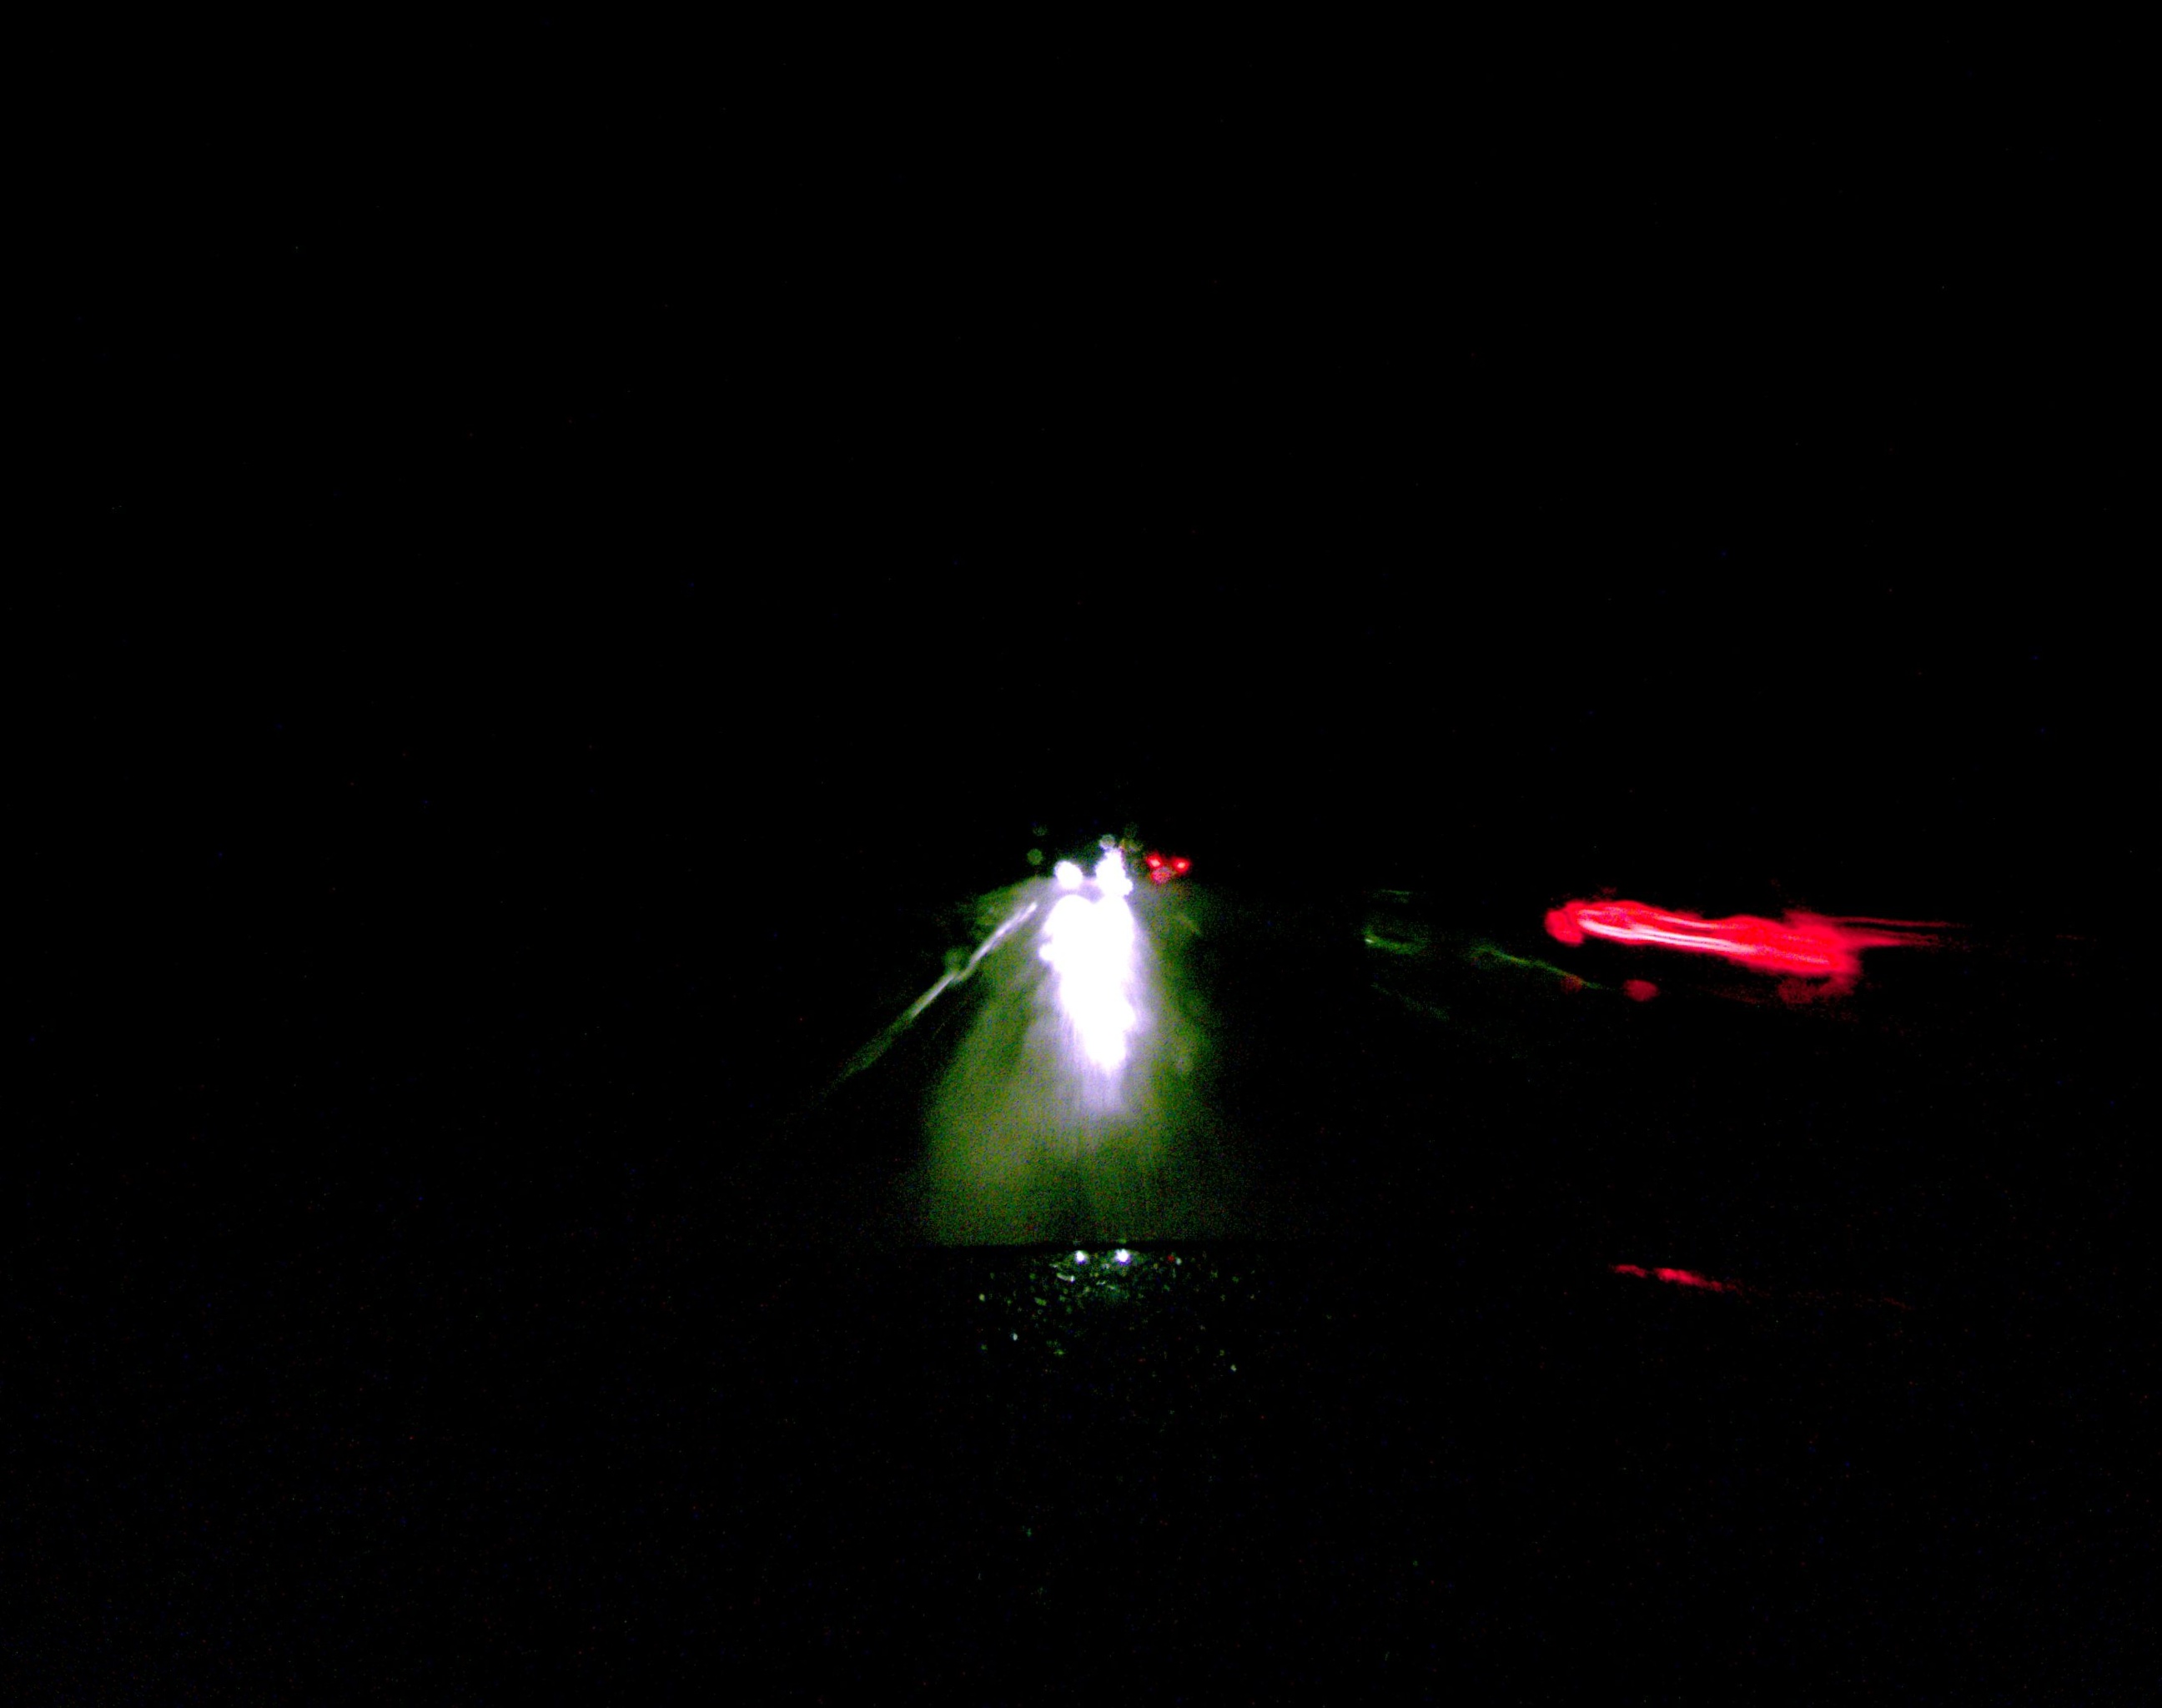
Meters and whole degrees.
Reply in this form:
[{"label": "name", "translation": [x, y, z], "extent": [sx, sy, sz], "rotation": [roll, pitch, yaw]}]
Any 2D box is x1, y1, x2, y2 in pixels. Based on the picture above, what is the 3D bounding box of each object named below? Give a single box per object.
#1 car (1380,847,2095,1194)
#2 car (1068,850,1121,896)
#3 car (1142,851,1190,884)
[{"label": "car", "translation": [3.900, 0.777, 5.614], "extent": [1.834, 1.637, 4.000], "rotation": [0, 1, 1]}, {"label": "car", "translation": [0.483, 0.662, 29.118], "extent": [1.863, 1.601, 4.419], "rotation": [1, 1, 0]}, {"label": "car", "translation": [4.241, 0.634, 38.421], "extent": [1.951, 1.464, 4.095], "rotation": [-2, 1, 1]}]
